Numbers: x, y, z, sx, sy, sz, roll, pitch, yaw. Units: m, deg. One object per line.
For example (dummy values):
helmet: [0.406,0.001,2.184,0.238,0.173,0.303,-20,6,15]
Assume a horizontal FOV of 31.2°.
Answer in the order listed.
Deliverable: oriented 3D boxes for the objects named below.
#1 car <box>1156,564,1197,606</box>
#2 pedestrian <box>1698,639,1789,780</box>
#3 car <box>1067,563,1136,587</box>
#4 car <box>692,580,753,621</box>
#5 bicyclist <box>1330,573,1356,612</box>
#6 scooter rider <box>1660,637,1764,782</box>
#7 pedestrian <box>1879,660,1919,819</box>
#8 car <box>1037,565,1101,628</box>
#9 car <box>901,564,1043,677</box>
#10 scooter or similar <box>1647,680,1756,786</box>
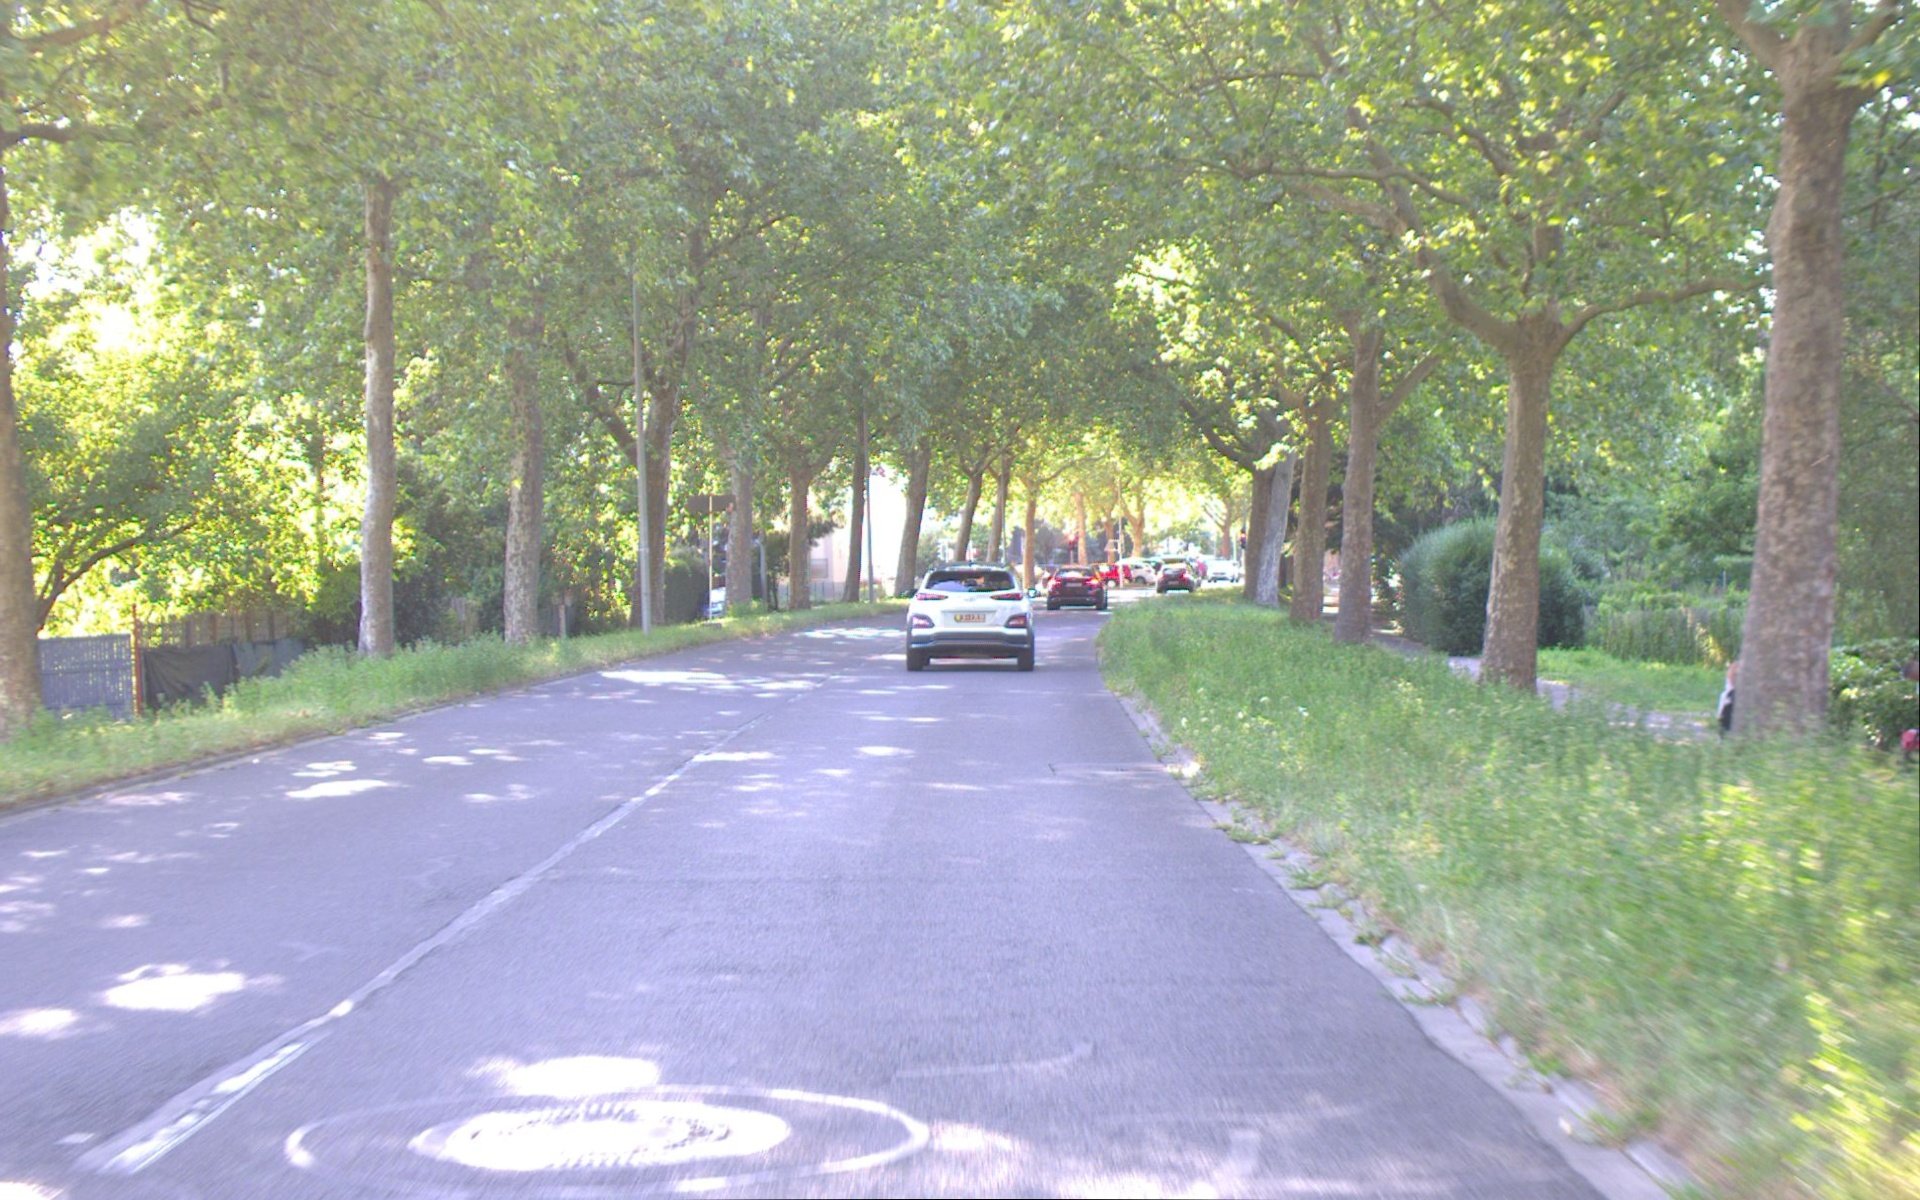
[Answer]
car: [10.675,-0.731,169.555,1.994,2.007,3.999,0,0,4]
pedestrian: [8.940,1.240,39.221,0.783,1.571,0.843,0,0,31]
car: [8.601,-1.509,208.408,3.988,1.473,1.999,0,0,9]
car: [-8.478,-0.004,123.166,1.752,1.300,4.000,-2,1,2]
bicyclist: [13.330,-0.269,119.628,0.734,1.361,0.771,0,0,-8]
scooter rider: [8.338,1.199,38.131,0.842,1.571,0.784,0,0,-43]
pedestrian: [9.859,1.413,35.036,0.842,1.571,1.206,0,0,9]
car: [3.570,-0.108,111.976,1.994,2.007,4.000,0,0,3]
car: [0.212,0.280,50.064,1.993,1.569,4.000,0,0,1]
scooter or similar: [8.226,1.465,38.104,1.595,1.131,0.340,0,0,-43]
